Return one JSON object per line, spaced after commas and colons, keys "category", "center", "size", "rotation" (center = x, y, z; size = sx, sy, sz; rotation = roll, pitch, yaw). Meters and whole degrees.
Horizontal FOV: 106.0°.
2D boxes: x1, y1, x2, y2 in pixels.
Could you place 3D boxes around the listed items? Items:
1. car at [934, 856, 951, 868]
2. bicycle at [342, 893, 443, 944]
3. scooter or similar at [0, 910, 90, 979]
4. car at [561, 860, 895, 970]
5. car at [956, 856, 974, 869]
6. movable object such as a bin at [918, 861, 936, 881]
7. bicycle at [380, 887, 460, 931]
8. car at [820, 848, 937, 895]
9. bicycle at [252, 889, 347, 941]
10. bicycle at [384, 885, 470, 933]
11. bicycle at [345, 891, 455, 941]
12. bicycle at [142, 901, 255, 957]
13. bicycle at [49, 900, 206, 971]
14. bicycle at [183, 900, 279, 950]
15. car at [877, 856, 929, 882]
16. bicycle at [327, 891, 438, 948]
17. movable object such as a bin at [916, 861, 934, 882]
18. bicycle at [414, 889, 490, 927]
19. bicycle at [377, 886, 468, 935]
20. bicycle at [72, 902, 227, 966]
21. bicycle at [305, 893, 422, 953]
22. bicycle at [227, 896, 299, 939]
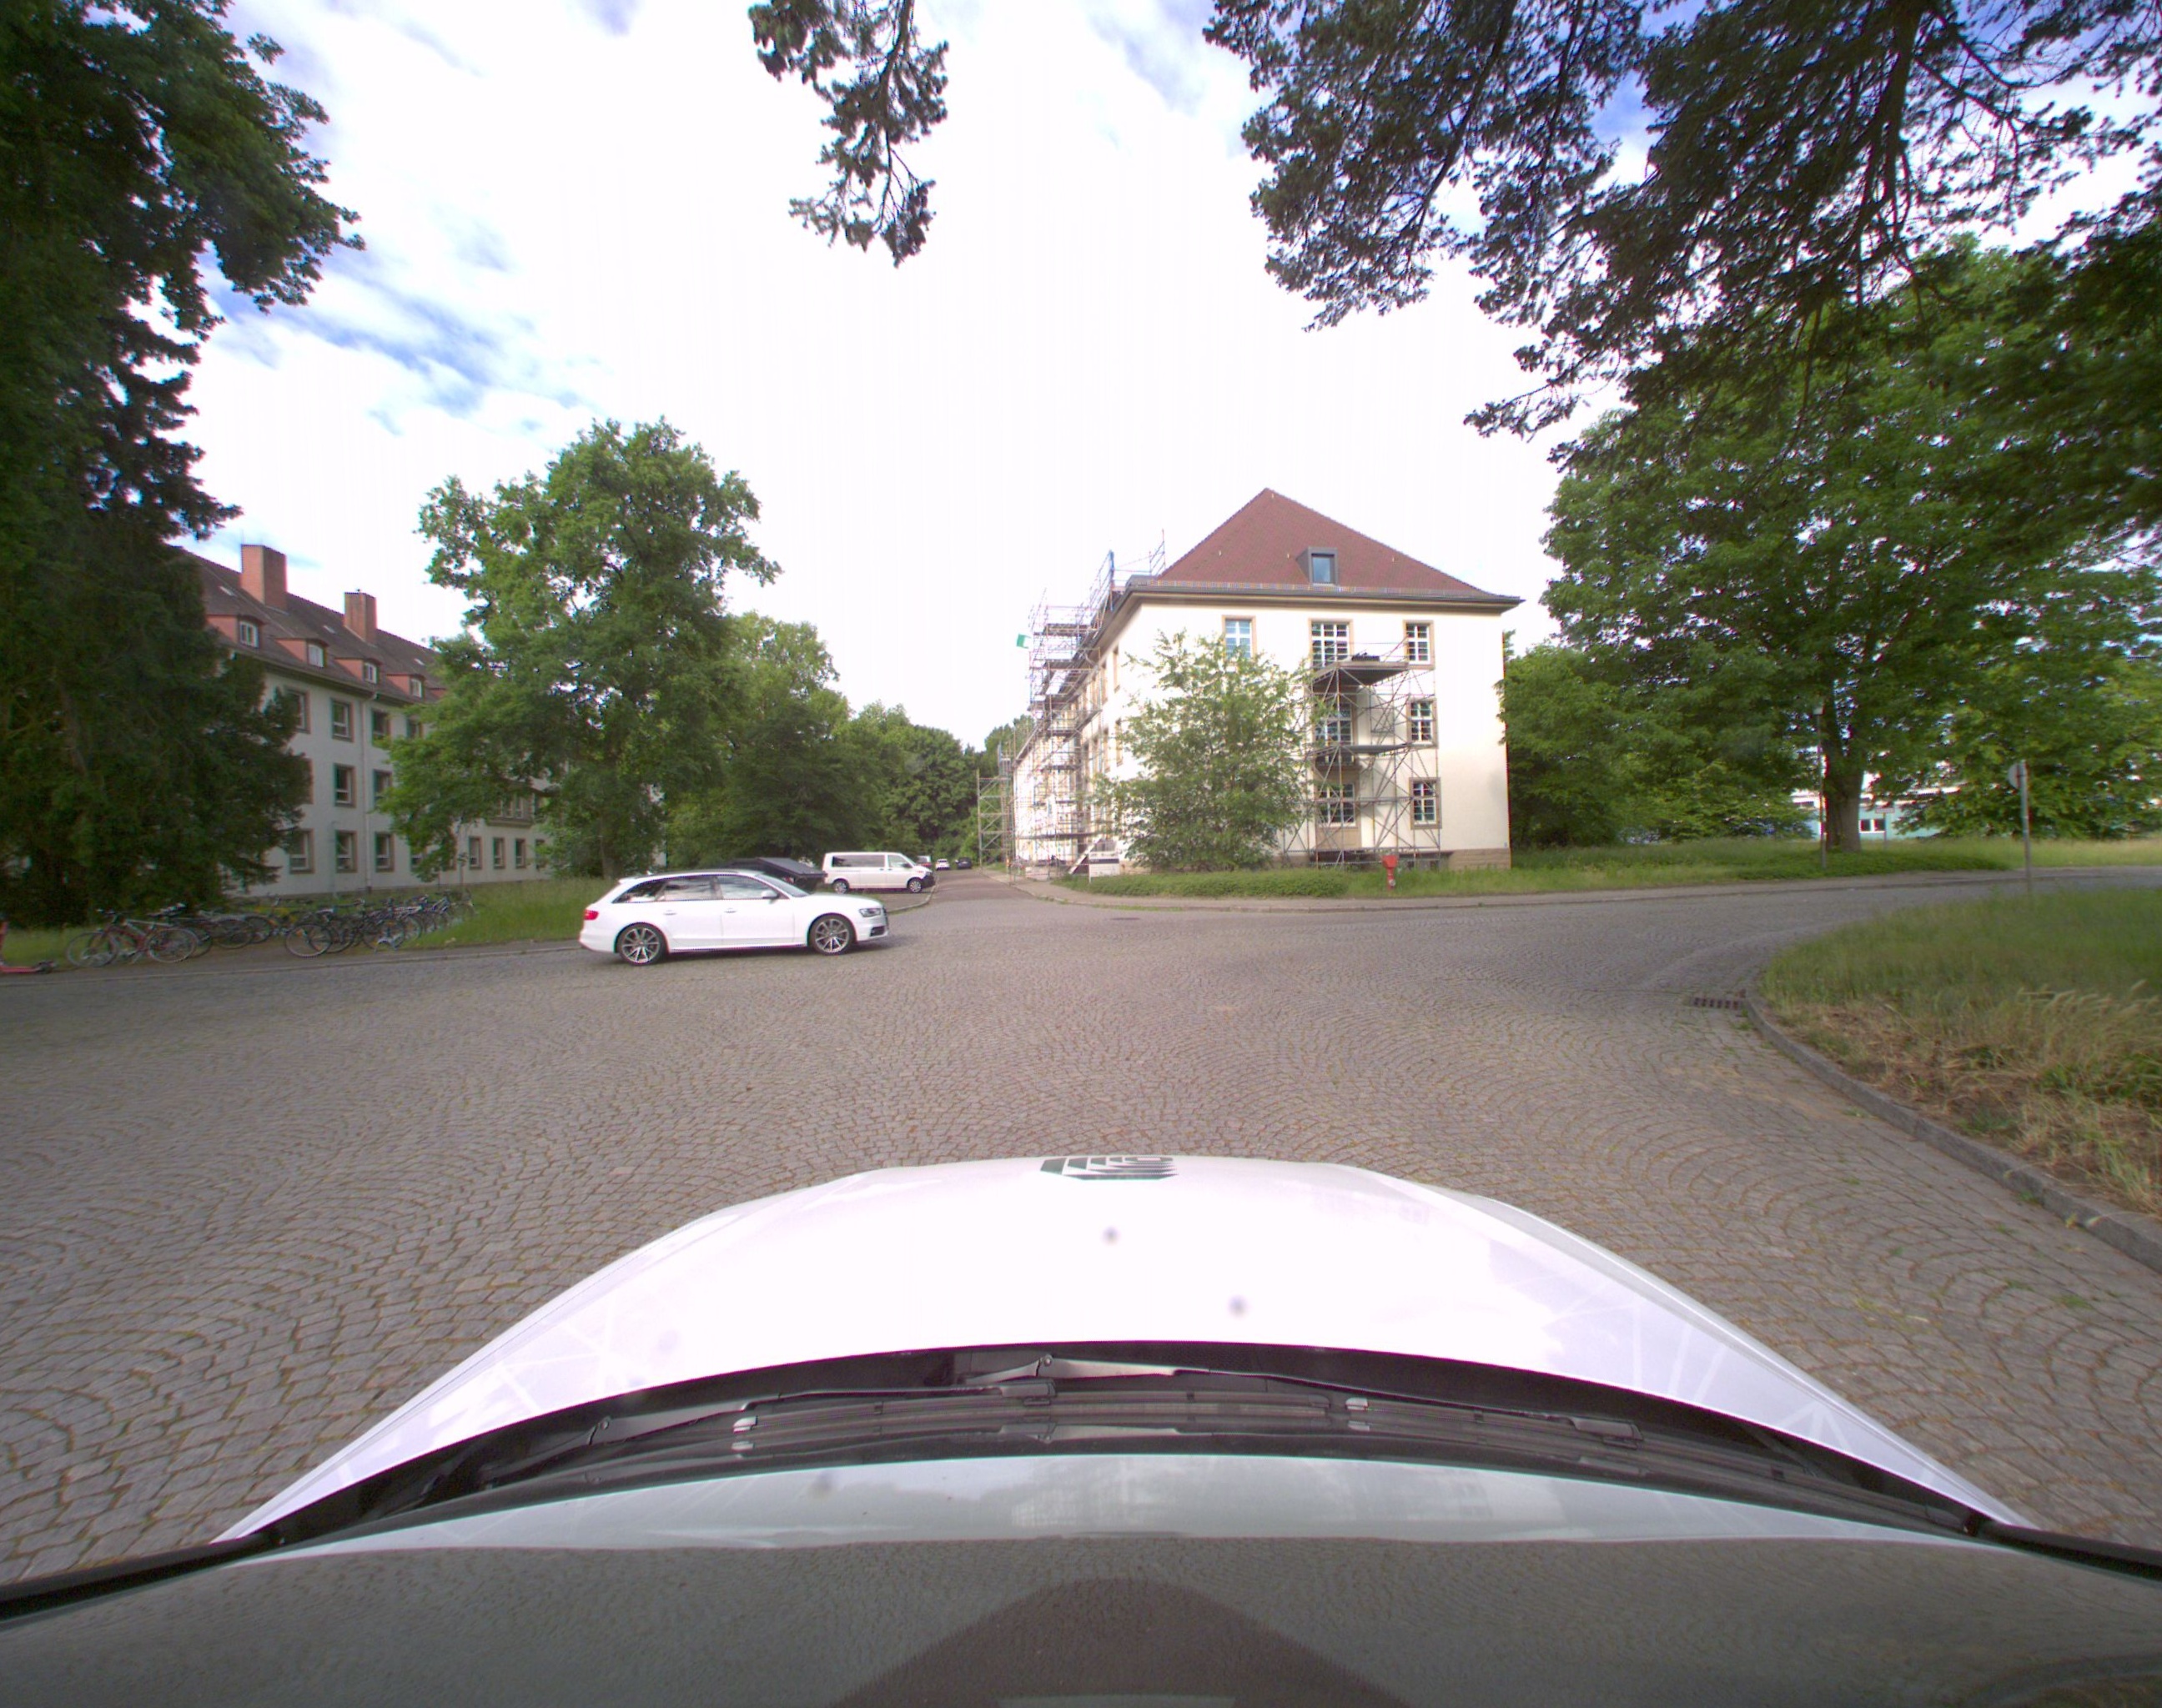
{"category": "car", "center": [-17.731, 1.037, 103.920], "size": [2.003, 1.548, 3.941], "rotation": [1, -1, -12]}
{"category": "bicycle", "center": [-16.527, 1.530, 19.605], "size": [1.701, 1.001, 0.626], "rotation": [-3, 3, -29]}
{"category": "scooter or similar", "center": [-20.063, 1.724, 15.434], "size": [1.546, 1.195, 0.681], "rotation": [-3, 1, -6]}
{"category": "car", "center": [-5.541, 0.909, 13.423], "size": [4.692, 1.437, 1.848], "rotation": [-2, 0, -11]}
{"category": "car", "center": [-14.911, 1.082, 104.811], "size": [2.061, 1.593, 3.990], "rotation": [1, -1, -7]}
{"category": "movable object such as a bin", "center": [-11.018, 1.231, 58.198], "size": [1.183, 1.407, 0.972], "rotation": [1, -1, -9]}
{"category": "bicycle", "center": [-18.477, 1.529, 22.807], "size": [1.626, 1.058, 0.522], "rotation": [-3, 3, -29]}
{"category": "car", "center": [-9.481, 0.811, 38.615], "size": [5.202, 2.060, 2.180], "rotation": [-1, -1, -11]}
{"category": "bicycle", "center": [-20.126, 1.559, 21.013], "size": [1.651, 1.185, 0.568], "rotation": [-2, 2, -35]}
{"category": "bicycle", "center": [-17.990, 1.496, 22.436], "size": [1.707, 1.116, 0.537], "rotation": [-3, 3, -29]}
{"category": "bicycle", "center": [-16.933, 1.520, 20.312], "size": [1.965, 1.004, 0.680], "rotation": [-3, 3, -29]}
{"category": "bicycle", "center": [-19.970, 1.677, 18.470], "size": [1.638, 1.073, 0.533], "rotation": [-2, 2, -39]}
{"category": "bicycle", "center": [-19.126, 1.602, 16.392], "size": [1.906, 1.222, 0.638], "rotation": [-2, 2, -29]}
{"category": "bicycle", "center": [-20.660, 1.703, 19.829], "size": [1.524, 1.035, 0.539], "rotation": [-2, 2, -39]}
{"category": "car", "center": [-14.295, 1.215, 65.549], "size": [3.992, 2.014, 1.912], "rotation": [1, -1, -14]}
{"category": "bicycle", "center": [-16.206, 1.502, 18.957], "size": [1.804, 1.103, 0.696], "rotation": [-3, 3, -29]}
{"category": "movable object such as a bin", "center": [-10.905, 1.217, 56.934], "size": [1.183, 1.407, 0.972], "rotation": [1, -1, -9]}
{"category": "bicycle", "center": [-18.191, 1.553, 23.576], "size": [1.626, 0.910, 0.522], "rotation": [-3, 3, -29]}
{"category": "bicycle", "center": [-17.724, 1.507, 21.967], "size": [1.781, 1.105, 0.537], "rotation": [-3, 3, -29]}
{"category": "bicycle", "center": [-19.378, 1.640, 17.010], "size": [1.997, 1.114, 0.638], "rotation": [-2, 2, -29]}
{"category": "bicycle", "center": [-15.993, 1.521, 18.216], "size": [1.778, 1.103, 0.696], "rotation": [-3, 3, -29]}
{"category": "bicycle", "center": [-22.038, 1.711, 21.966], "size": [1.267, 1.029, 0.430], "rotation": [-3, -2, -29]}
